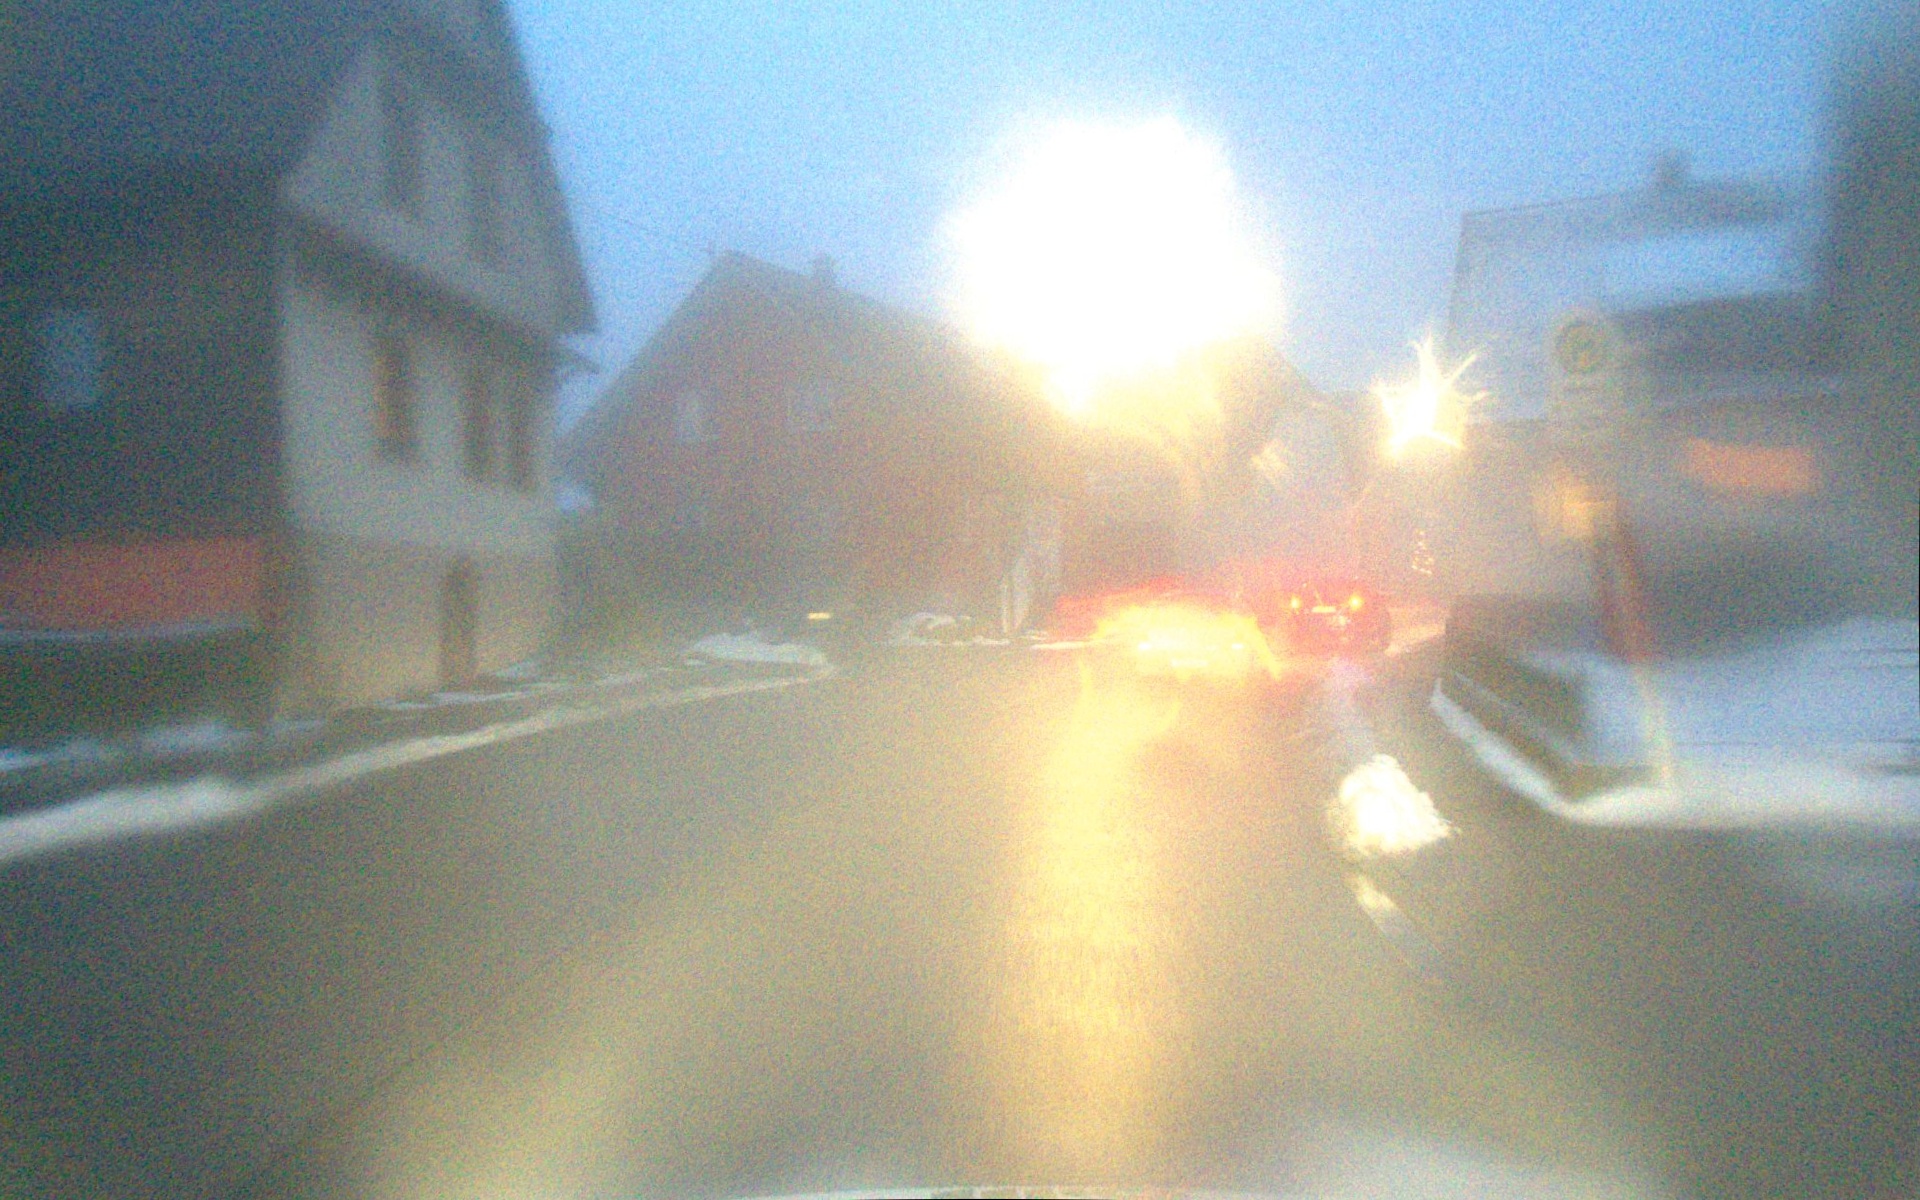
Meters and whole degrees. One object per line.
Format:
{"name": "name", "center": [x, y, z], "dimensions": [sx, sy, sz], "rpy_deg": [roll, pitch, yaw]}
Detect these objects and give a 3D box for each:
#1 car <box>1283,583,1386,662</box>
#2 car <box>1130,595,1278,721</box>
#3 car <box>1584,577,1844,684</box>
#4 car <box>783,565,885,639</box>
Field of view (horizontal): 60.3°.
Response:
{"name": "car", "center": [8.169, 0.466, 35.864], "dimensions": [1.612, 1.624, 3.699], "rpy_deg": [0, 0, 22]}
{"name": "car", "center": [3.534, 0.761, 23.496], "dimensions": [1.610, 1.624, 3.702], "rpy_deg": [0, 0, 16]}
{"name": "car", "center": [12.872, 0.486, 28.474], "dimensions": [3.906, 1.624, 1.911], "rpy_deg": [2, 1, 22]}
{"name": "car", "center": [-2.780, 0.052, 37.274], "dimensions": [1.835, 1.530, 4.001], "rpy_deg": [1, 0, 2]}
